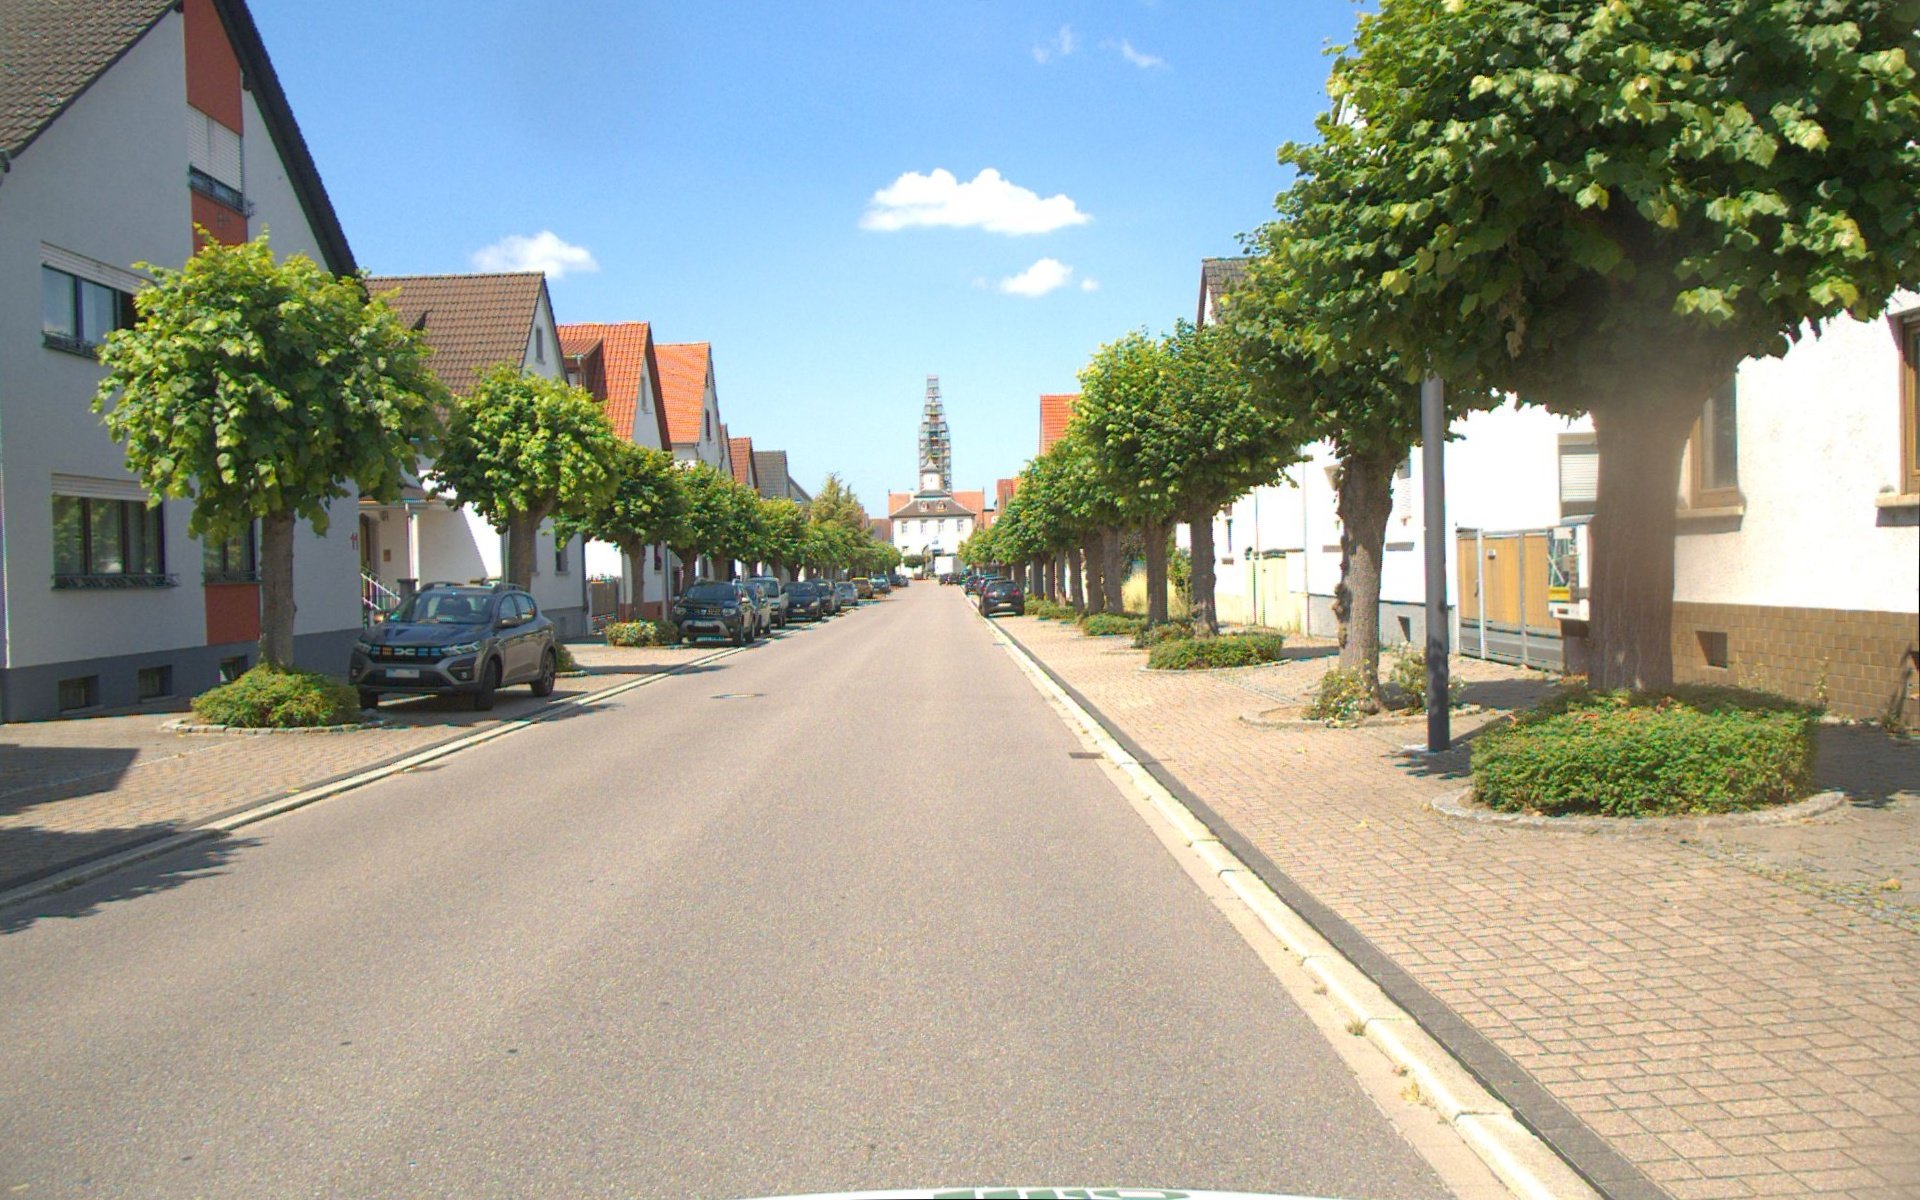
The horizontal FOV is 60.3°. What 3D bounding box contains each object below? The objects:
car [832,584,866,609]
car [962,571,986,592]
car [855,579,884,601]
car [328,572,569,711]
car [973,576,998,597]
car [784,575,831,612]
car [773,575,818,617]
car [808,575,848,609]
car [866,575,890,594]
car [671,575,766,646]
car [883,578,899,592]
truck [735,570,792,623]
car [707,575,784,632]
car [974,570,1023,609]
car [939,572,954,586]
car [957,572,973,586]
[{"bbox_3d":[-6.675,-0.239,99.852,1.803,1.420,4.405,0,1,-1],"label":"car"},{"bbox_3d":[1.132,-1.555,137.479,1.800,1.582,4.313,-3,1,-1],"label":"car"},{"bbox_3d":[-7.059,-0.812,129.797,1.952,1.639,4.689,0,1,0],"label":"car"},{"bbox_3d":[-6.654,0.474,21.988,1.814,1.641,4.136,1,1,1],"label":"car"},{"bbox_3d":[1.976,-1.088,130.064,1.800,1.635,3.999,-1,1,-2],"label":"car"},{"bbox_3d":[-6.936,-0.300,75.607,1.815,1.664,4.056,1,0,-1],"label":"car"},{"bbox_3d":[-6.670,-0.178,67.014,1.751,1.662,3.995,0,0,-6],"label":"car"},{"bbox_3d":[-6.783,-0.433,85.238,1.954,1.681,4.364,-1,1,-4],"label":"car"},{"bbox_3d":[-7.503,-1.400,151.640,1.952,1.639,4.689,1,1,0],"label":"car"},{"bbox_3d":[-6.167,0.218,42.659,1.815,1.665,4.299,1,1,-1],"label":"car"},{"bbox_3d":[-8.120,-1.743,194.351,1.721,1.582,4.020,-1,1,0],"label":"car"},{"bbox_3d":[-6.931,-0.136,58.740,1.544,1.796,4.192,1,0,-1],"label":"truck"},{"bbox_3d":[-6.520,0.082,50.745,1.815,1.641,4.370,1,0,-1],"label":"car"},{"bbox_3d":[1.549,-0.450,67.645,1.787,1.457,4.056,-3,1,-1],"label":"car"},{"bbox_3d":[-1.595,-2.475,197.143,1.694,1.574,3.455,1,0,-1],"label":"car"},{"bbox_3d":[0.579,-2.493,200.138,1.800,1.582,4.314,-3,1,0],"label":"car"}]
